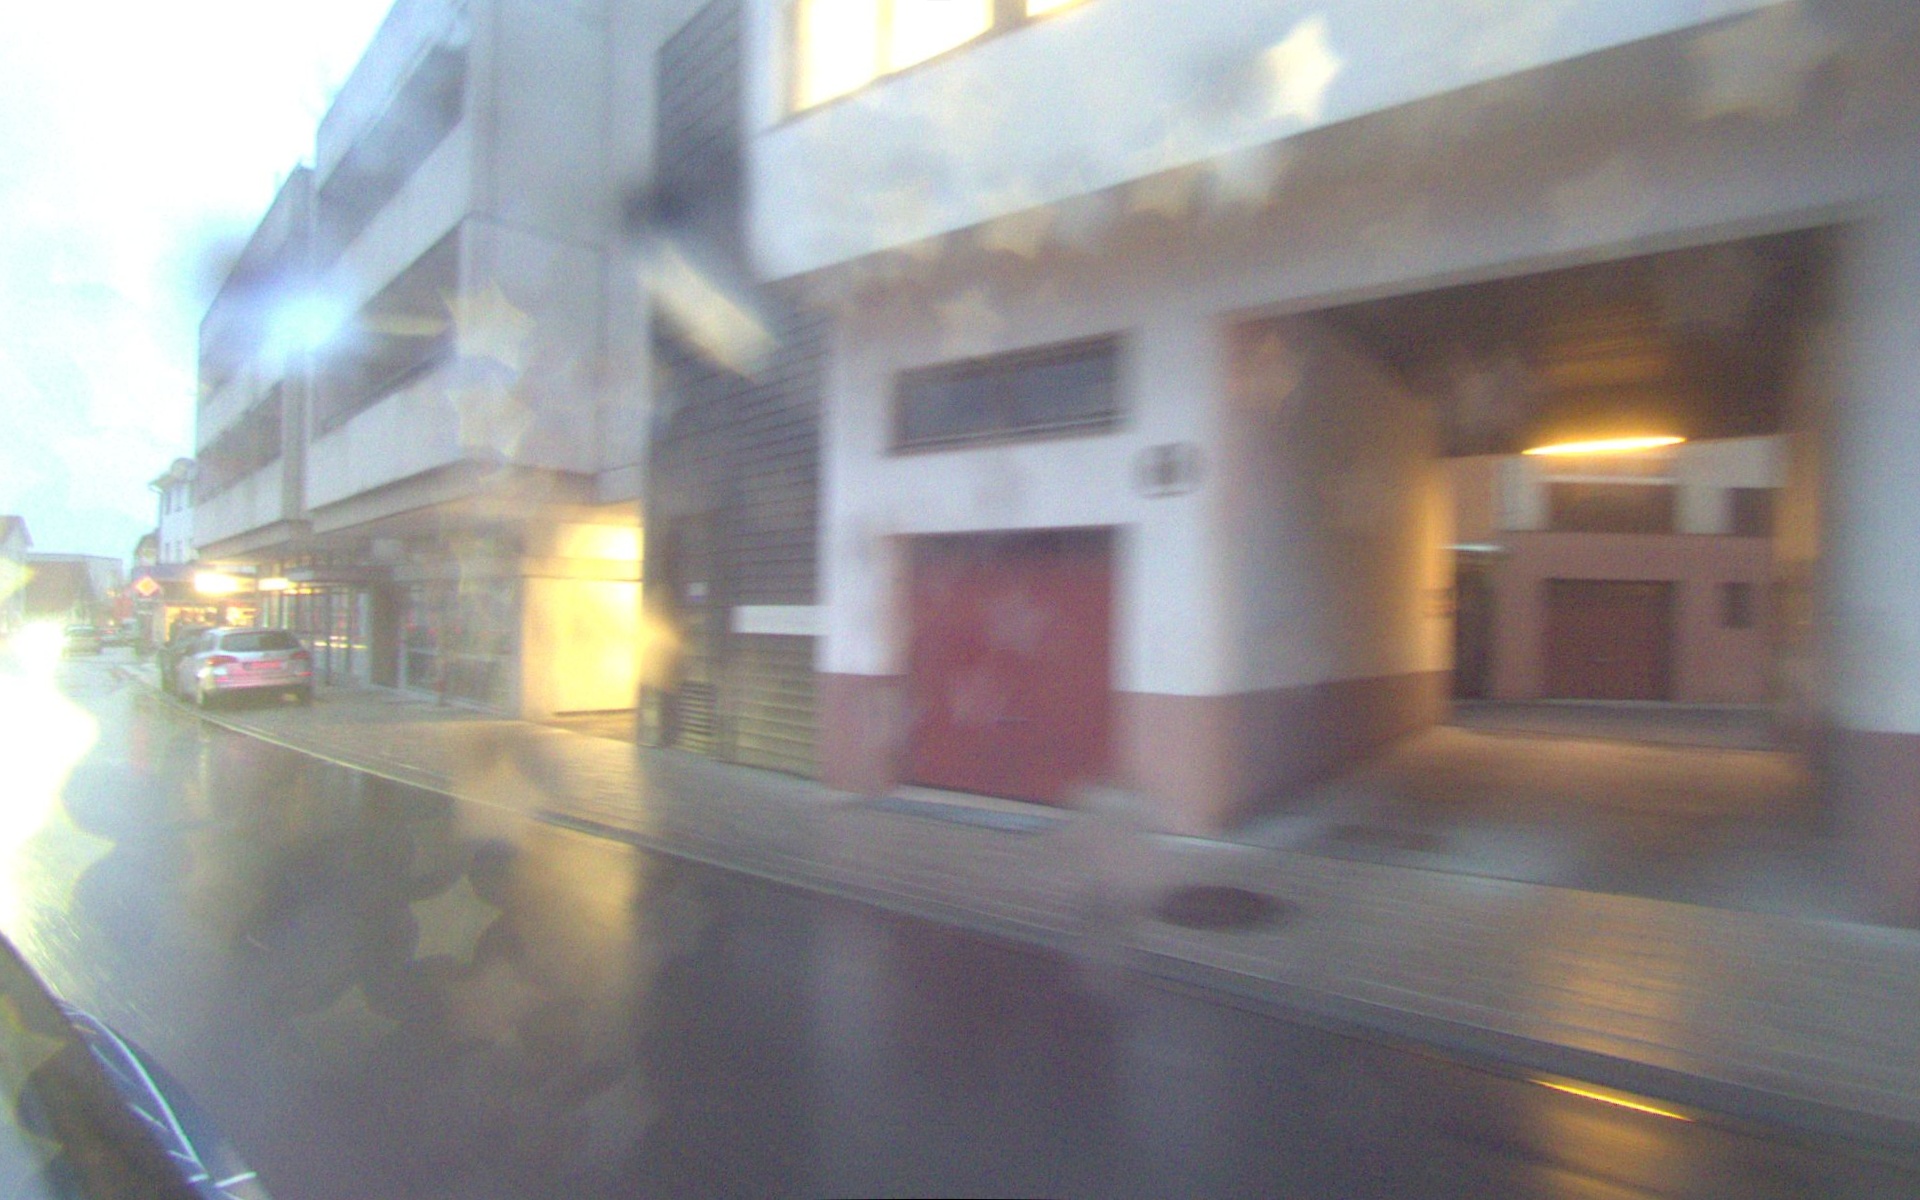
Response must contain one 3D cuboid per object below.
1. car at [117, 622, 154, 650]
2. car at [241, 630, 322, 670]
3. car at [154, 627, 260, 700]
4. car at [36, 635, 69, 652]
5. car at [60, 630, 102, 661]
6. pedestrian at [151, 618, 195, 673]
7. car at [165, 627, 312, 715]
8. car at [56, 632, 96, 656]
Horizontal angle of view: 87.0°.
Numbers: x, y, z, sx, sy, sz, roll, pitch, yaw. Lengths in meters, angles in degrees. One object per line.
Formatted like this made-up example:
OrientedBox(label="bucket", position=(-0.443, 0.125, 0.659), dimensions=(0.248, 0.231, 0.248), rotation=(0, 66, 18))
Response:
OrientedBox(label="car", position=(-81.983, 3.544, 100.675), dimensions=(2.013, 2.680, 4.223), rotation=(-2, -1, -27))
OrientedBox(label="car", position=(-27.027, 2.012, 40.239), dimensions=(4.451, 1.511, 1.744), rotation=(-4, -5, 44))
OrientedBox(label="car", position=(-17.798, 1.421, 23.862), dimensions=(1.596, 1.544, 3.932), rotation=(0, -1, -43))
OrientedBox(label="car", position=(-85.293, 4.064, 95.119), dimensions=(1.770, 1.522, 4.010), rotation=(3, -3, -35))
OrientedBox(label="car", position=(-49.152, 2.523, 56.571), dimensions=(1.700, 1.626, 3.820), rotation=(-1, -1, -42))
OrientedBox(label="pedestrian", position=(-28.508, 1.630, 36.684), dimensions=(1.182, 1.953, 0.979), rotation=(2, -3, -36))
OrientedBox(label="car", position=(-14.261, 1.306, 19.902), dimensions=(1.656, 1.457, 4.431), rotation=(-2, 0, -45))
OrientedBox(label="car", position=(-60.016, 2.958, 68.751), dimensions=(1.771, 1.467, 4.404), rotation=(-1, -1, -38))
